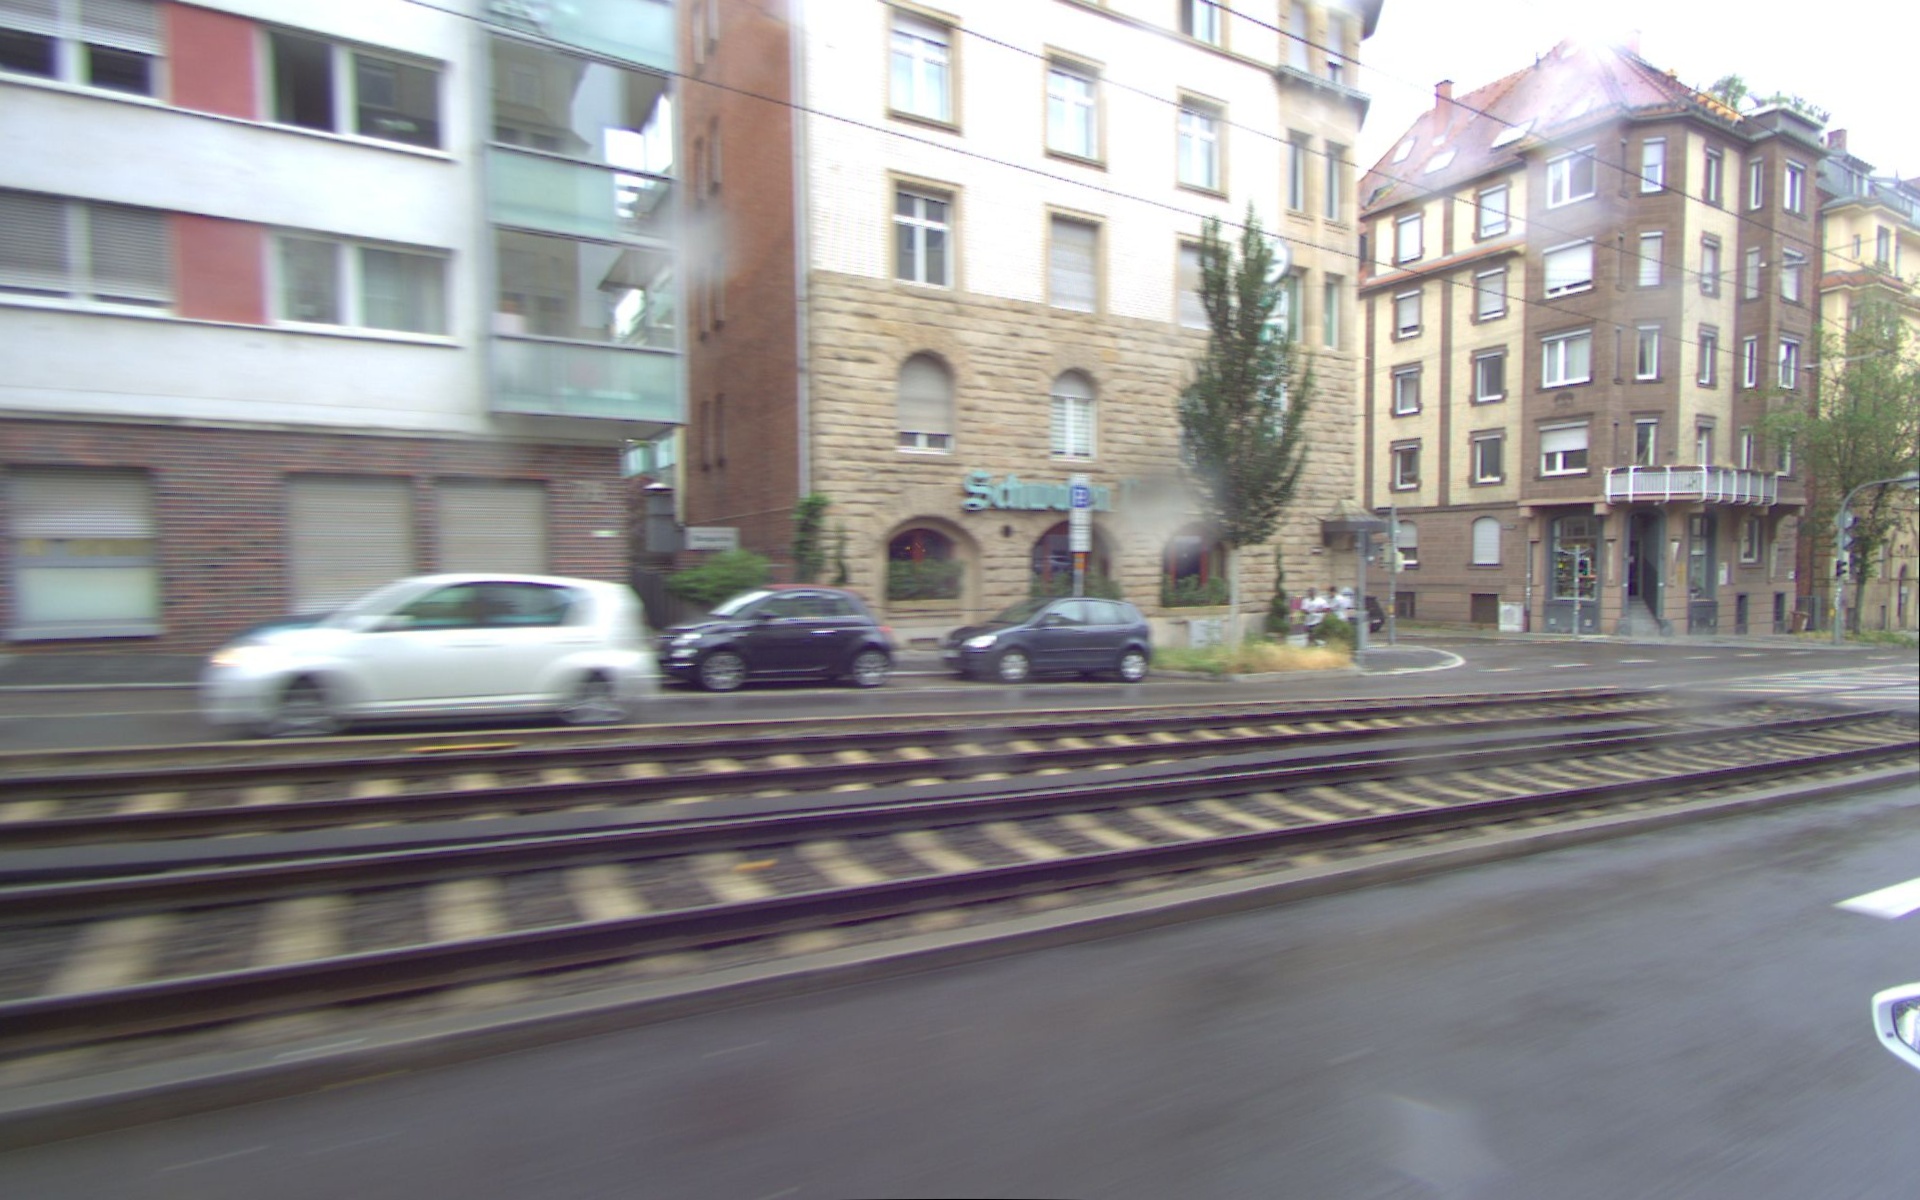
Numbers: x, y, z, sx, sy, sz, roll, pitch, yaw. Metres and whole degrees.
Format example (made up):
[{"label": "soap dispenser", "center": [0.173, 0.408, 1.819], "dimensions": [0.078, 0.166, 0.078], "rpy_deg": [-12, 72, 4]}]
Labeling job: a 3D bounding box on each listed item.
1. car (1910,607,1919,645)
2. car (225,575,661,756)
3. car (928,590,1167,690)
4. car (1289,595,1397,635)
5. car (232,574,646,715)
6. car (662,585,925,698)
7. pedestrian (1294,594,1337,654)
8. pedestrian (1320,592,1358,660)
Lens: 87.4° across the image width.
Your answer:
[{"label": "car", "center": [40.616, 1.102, 40.888], "dimensions": [3.952, 1.506, 1.757], "rpy_deg": [1, 0, -30]}, {"label": "car", "center": [-4.954, 0.562, 9.914], "dimensions": [3.540, 1.502, 1.618], "rpy_deg": [1, 0, -31]}, {"label": "car", "center": [1.556, 0.648, 17.618], "dimensions": [3.847, 1.573, 1.757], "rpy_deg": [1, 1, -29]}, {"label": "car", "center": [16.745, 0.638, 44.091], "dimensions": [1.821, 1.586, 4.190], "rpy_deg": [1, 1, -30]}, {"label": "car", "center": [-6.418, 0.475, 12.723], "dimensions": [4.380, 1.474, 1.791], "rpy_deg": [0, 2, -32]}, {"label": "car", "center": [-2.497, 0.584, 15.138], "dimensions": [3.487, 1.518, 1.797], "rpy_deg": [1, 0, -32]}, {"label": "pedestrian", "center": [8.728, 0.582, 24.677], "dimensions": [0.637, 1.441, 0.751], "rpy_deg": [1, 1, -28]}, {"label": "pedestrian", "center": [9.073, 0.618, 24.046], "dimensions": [0.635, 1.591, 0.515], "rpy_deg": [2, 0, -27]}]
